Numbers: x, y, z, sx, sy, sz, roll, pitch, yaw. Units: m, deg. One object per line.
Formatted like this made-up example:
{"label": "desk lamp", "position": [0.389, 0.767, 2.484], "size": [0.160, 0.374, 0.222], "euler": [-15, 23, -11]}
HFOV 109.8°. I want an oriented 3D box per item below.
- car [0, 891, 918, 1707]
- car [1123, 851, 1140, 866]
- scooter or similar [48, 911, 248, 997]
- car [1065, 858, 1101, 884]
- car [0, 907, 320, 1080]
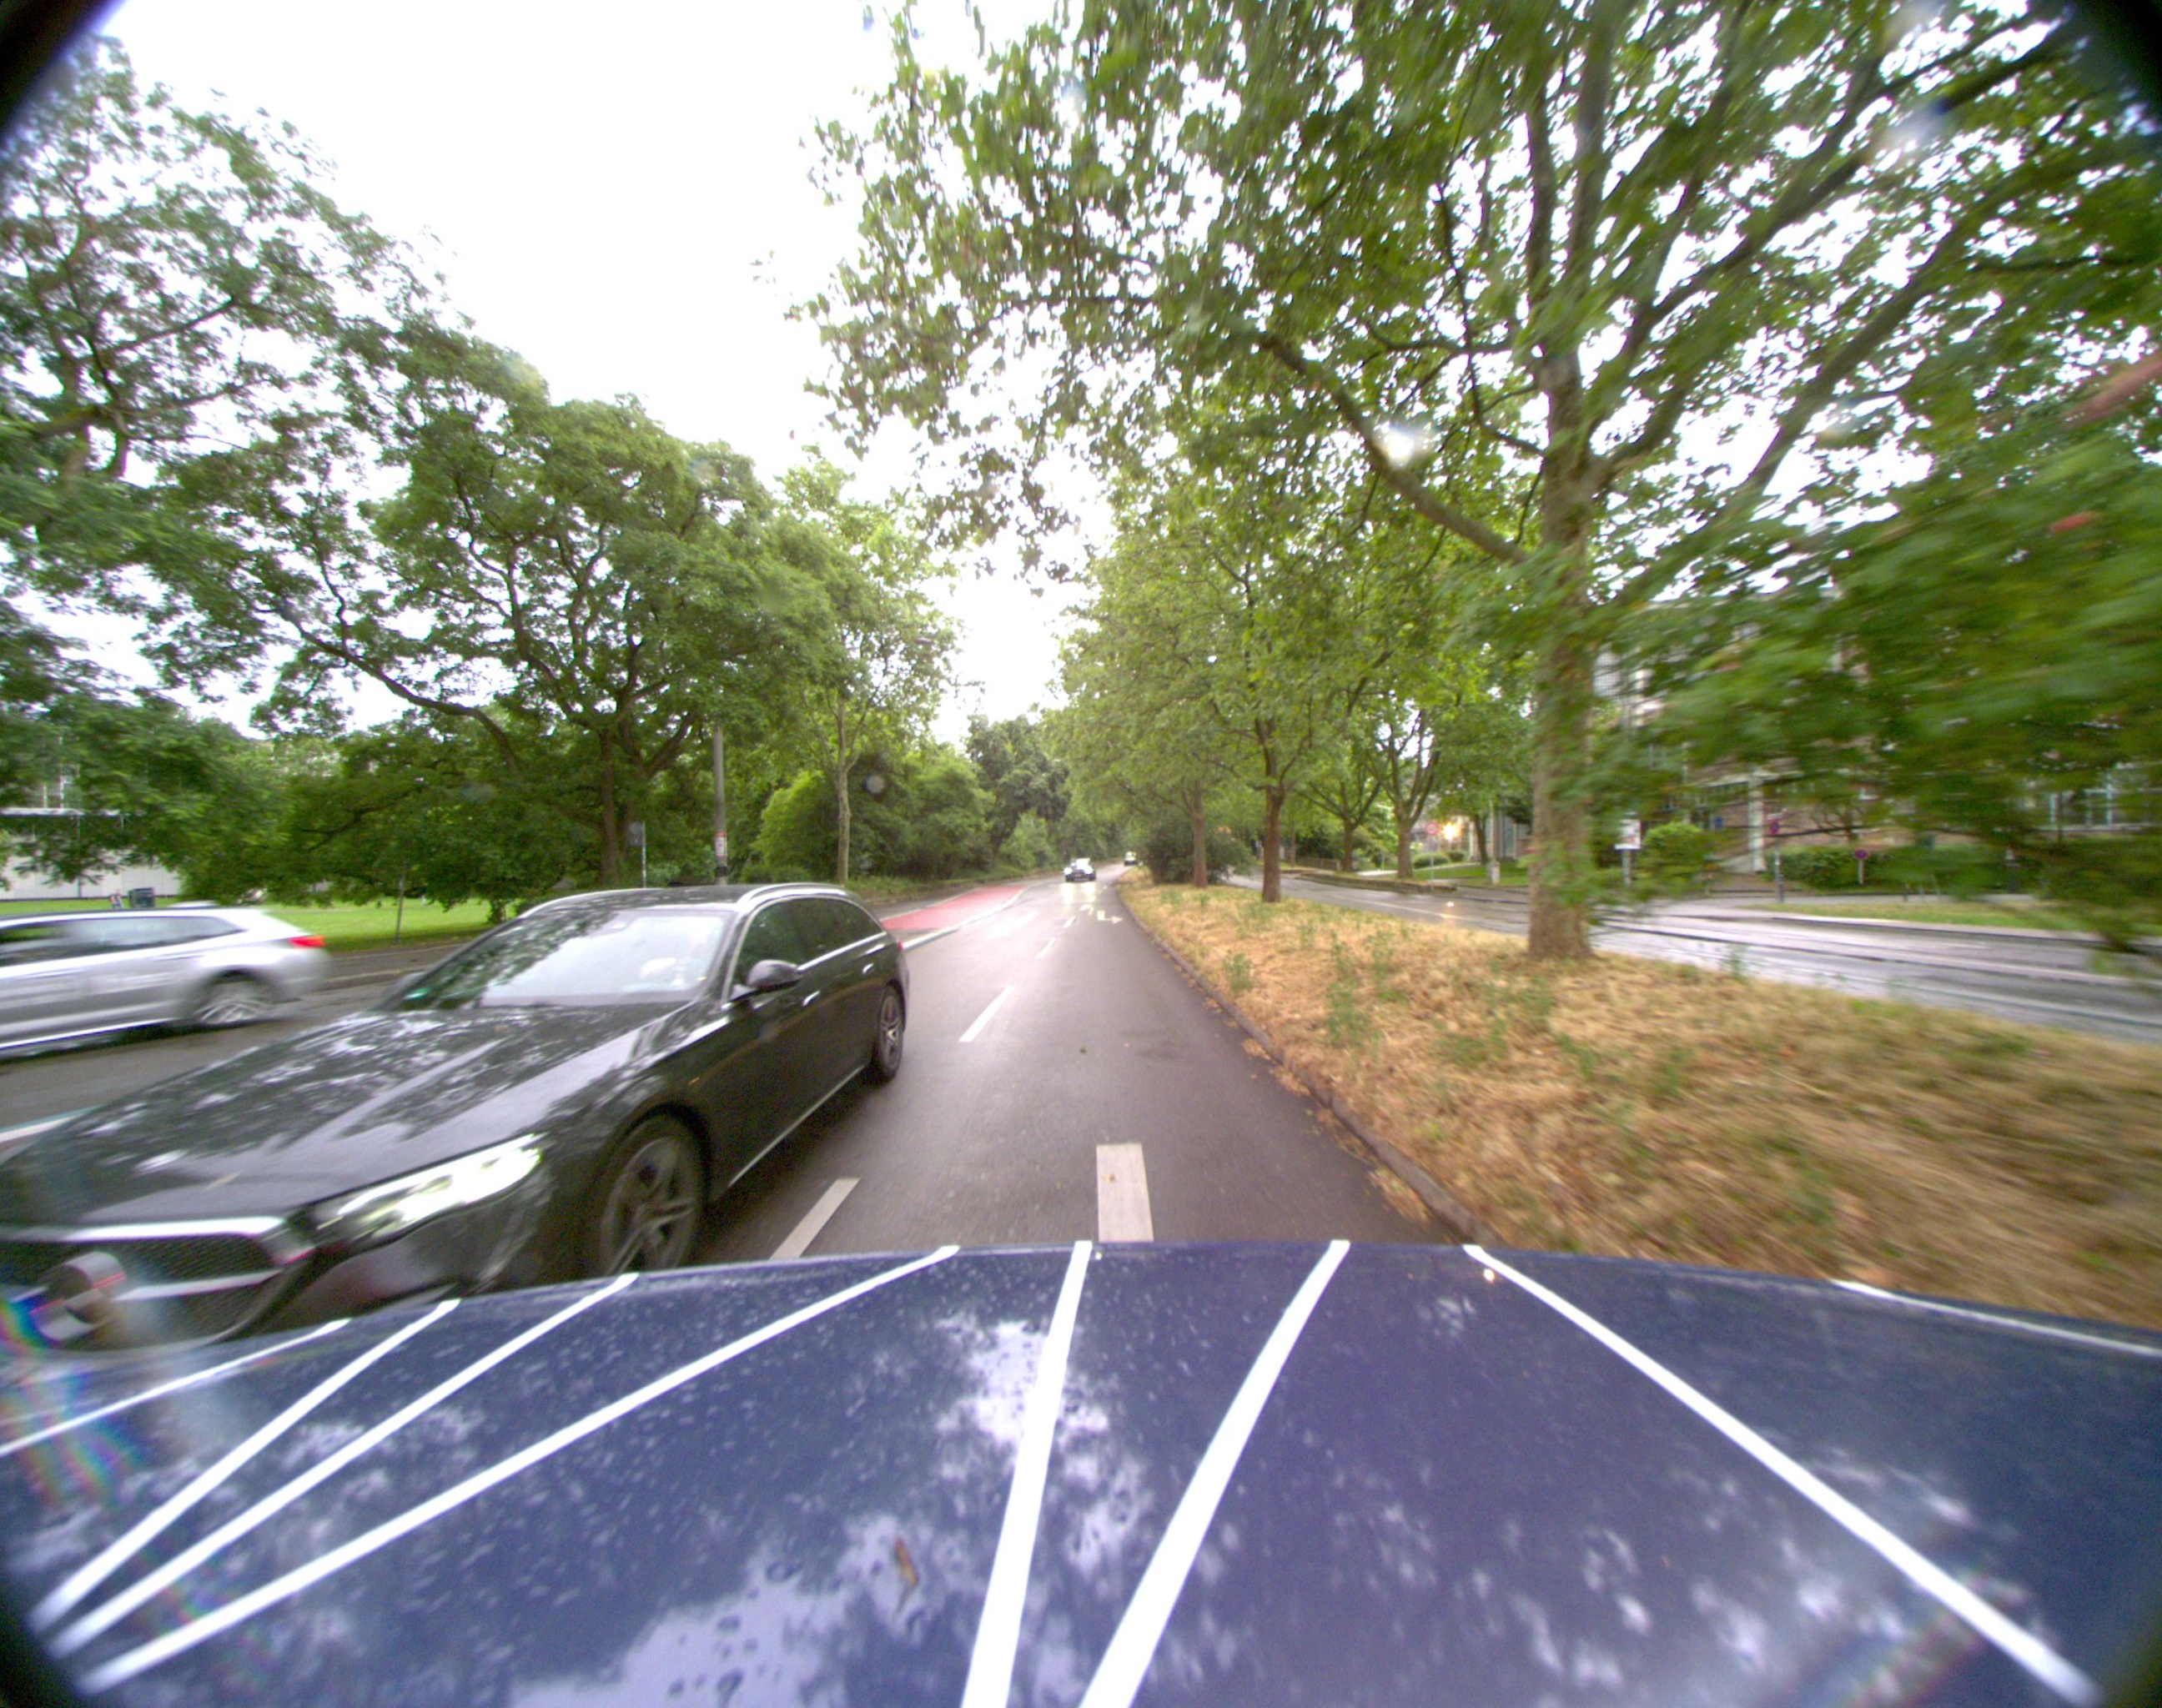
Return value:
{"label": "car", "position": [-2.279, 1.059, 3.889], "size": [1.884, 1.437, 4.930], "euler": [-3, 0, -1]}
{"label": "car", "position": [6.910, 0.604, 103.276], "size": [1.883, 1.865, 4.745], "euler": [-3, 0, 8]}
{"label": "scooter or similar", "position": [-14.564, 1.515, 11.946], "size": [0.557, 1.095, 1.894], "euler": [2, 0, 22]}
{"label": "car", "position": [0.217, 1.185, 55.264], "size": [1.832, 1.599, 4.579], "euler": [-2, 1, 10]}
{"label": "car", "position": [-10.906, 1.405, 7.496], "size": [1.864, 1.441, 4.409], "euler": [-2, 0, 16]}
